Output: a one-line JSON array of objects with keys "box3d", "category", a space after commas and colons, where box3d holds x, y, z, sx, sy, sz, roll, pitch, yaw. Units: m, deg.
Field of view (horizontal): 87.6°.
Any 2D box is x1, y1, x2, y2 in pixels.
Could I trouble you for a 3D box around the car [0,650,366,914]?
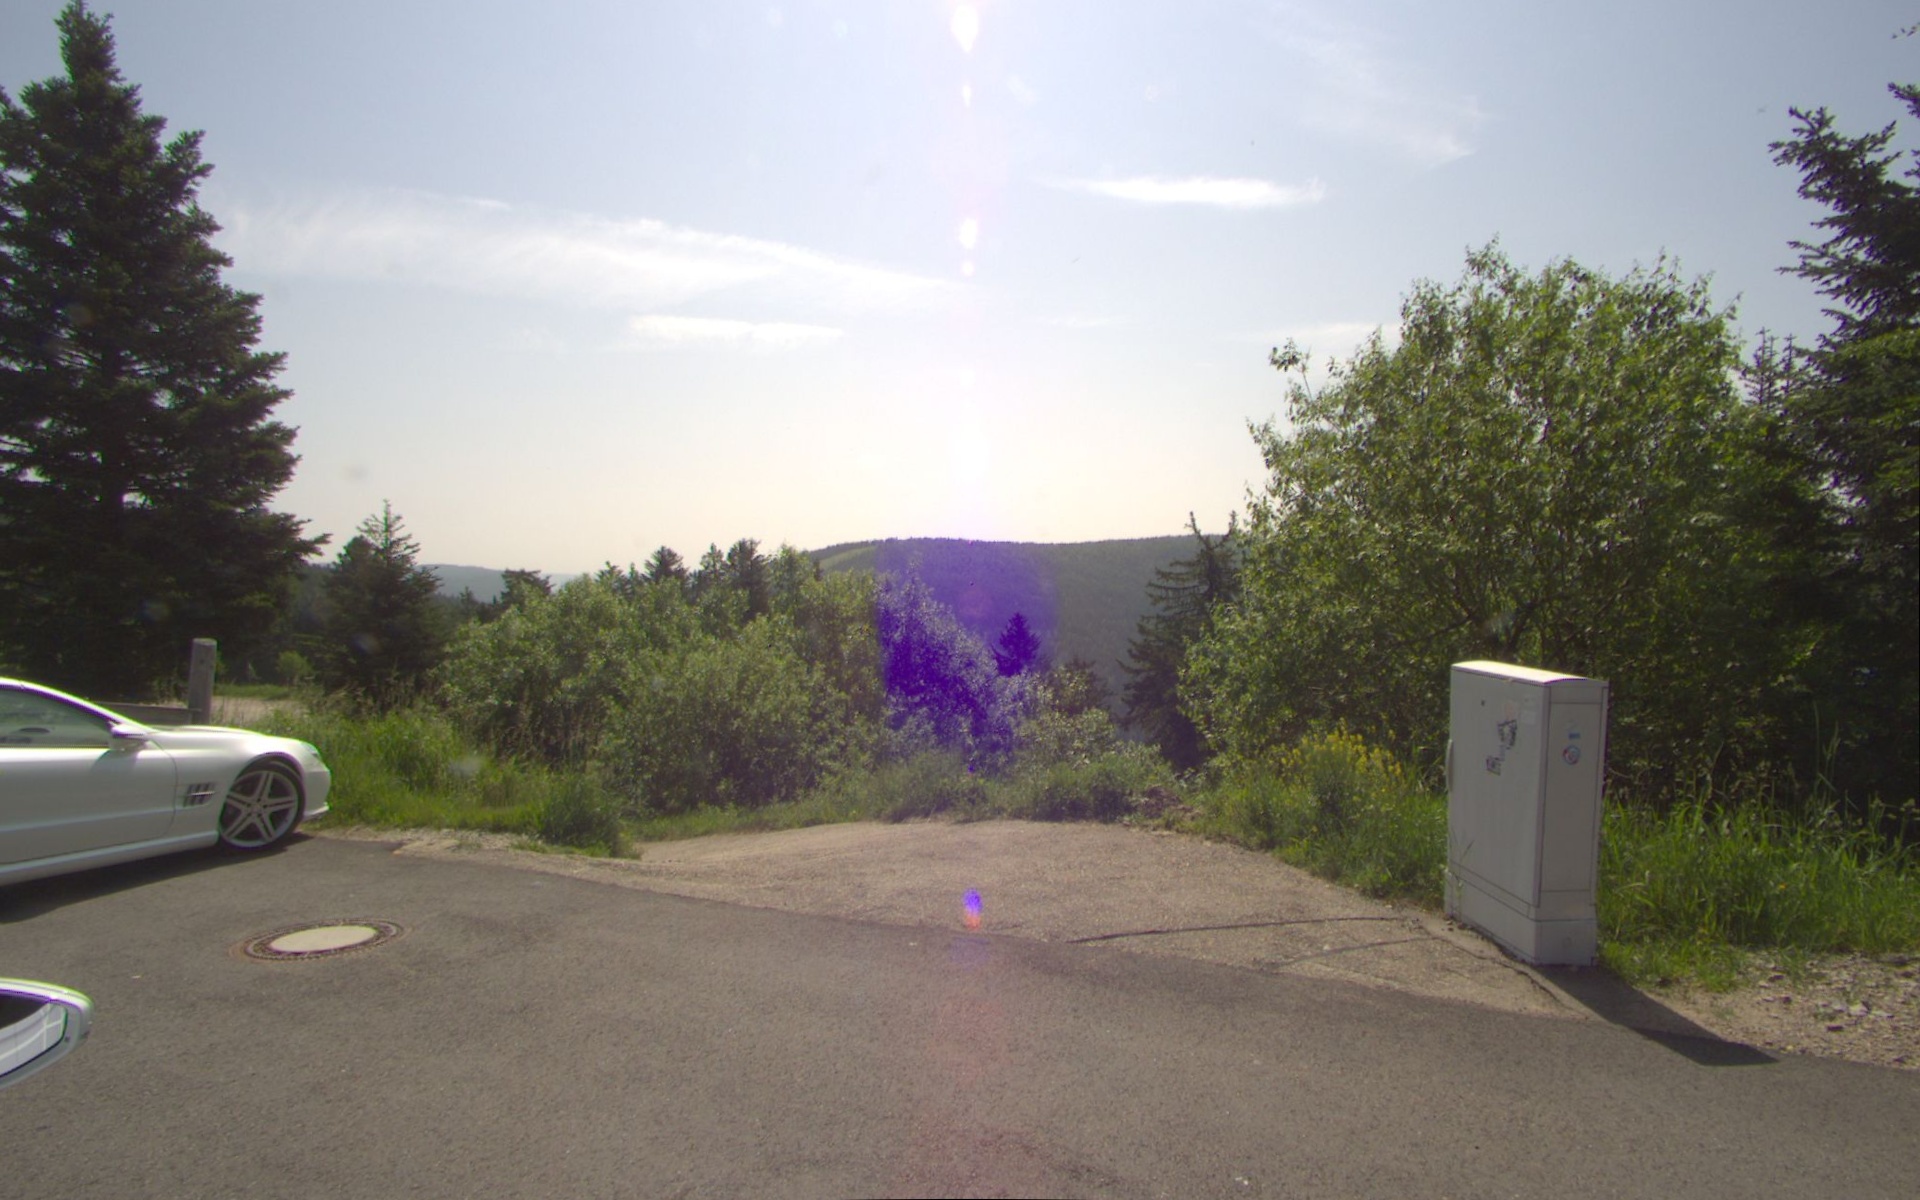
[{"box3d": [-5.765, 0.969, 5.704, 1.722, 1.312, 4.415, 1, -3, 7], "category": "car"}]
